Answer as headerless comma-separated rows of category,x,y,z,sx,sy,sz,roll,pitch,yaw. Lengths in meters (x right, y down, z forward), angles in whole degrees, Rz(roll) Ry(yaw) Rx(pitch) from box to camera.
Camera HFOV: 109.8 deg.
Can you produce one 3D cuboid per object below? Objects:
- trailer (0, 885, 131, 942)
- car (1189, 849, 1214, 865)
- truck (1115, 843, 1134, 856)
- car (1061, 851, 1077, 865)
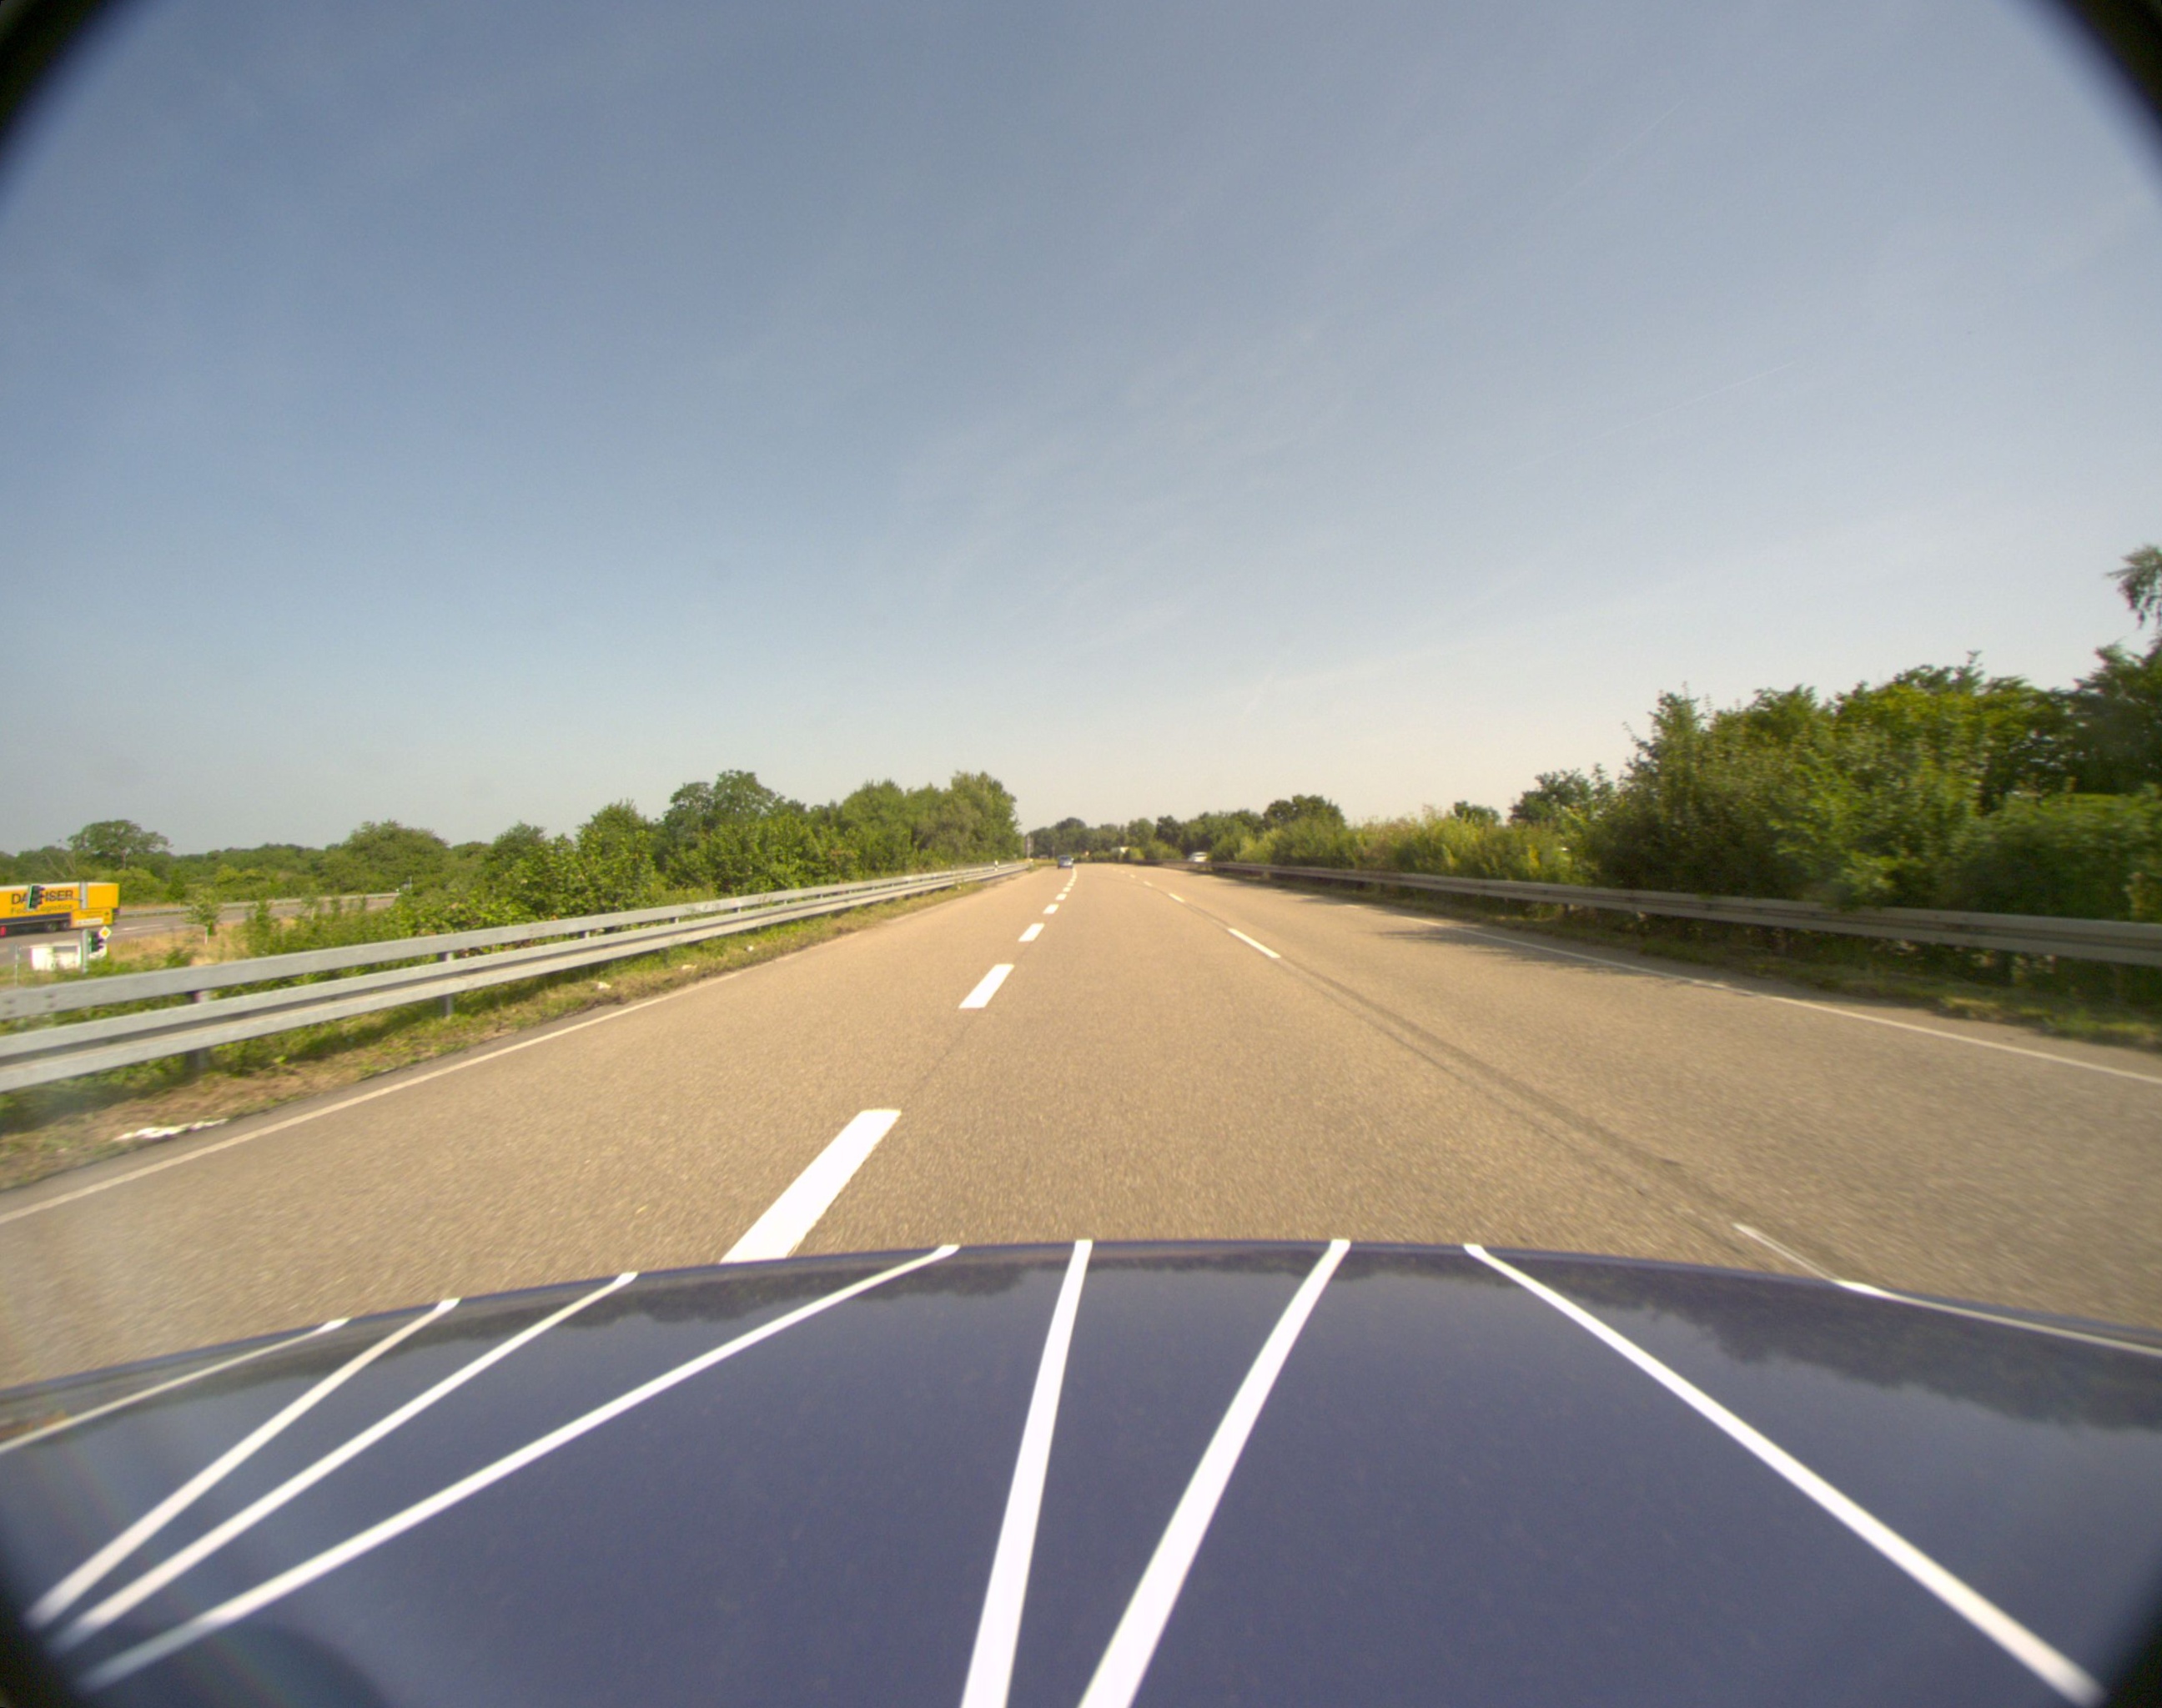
trailer,-88.759,5.032,64.359,2.263,4.145,14.405,-1,0,-15
car,12.960,0.306,82.085,1.983,1.567,4.000,-5,0,1
truck,11.080,-1.138,192.932,2.877,3.258,14.110,-2,1,-4
car,-1.390,0.474,88.201,1.702,1.474,3.600,-3,-1,-1
